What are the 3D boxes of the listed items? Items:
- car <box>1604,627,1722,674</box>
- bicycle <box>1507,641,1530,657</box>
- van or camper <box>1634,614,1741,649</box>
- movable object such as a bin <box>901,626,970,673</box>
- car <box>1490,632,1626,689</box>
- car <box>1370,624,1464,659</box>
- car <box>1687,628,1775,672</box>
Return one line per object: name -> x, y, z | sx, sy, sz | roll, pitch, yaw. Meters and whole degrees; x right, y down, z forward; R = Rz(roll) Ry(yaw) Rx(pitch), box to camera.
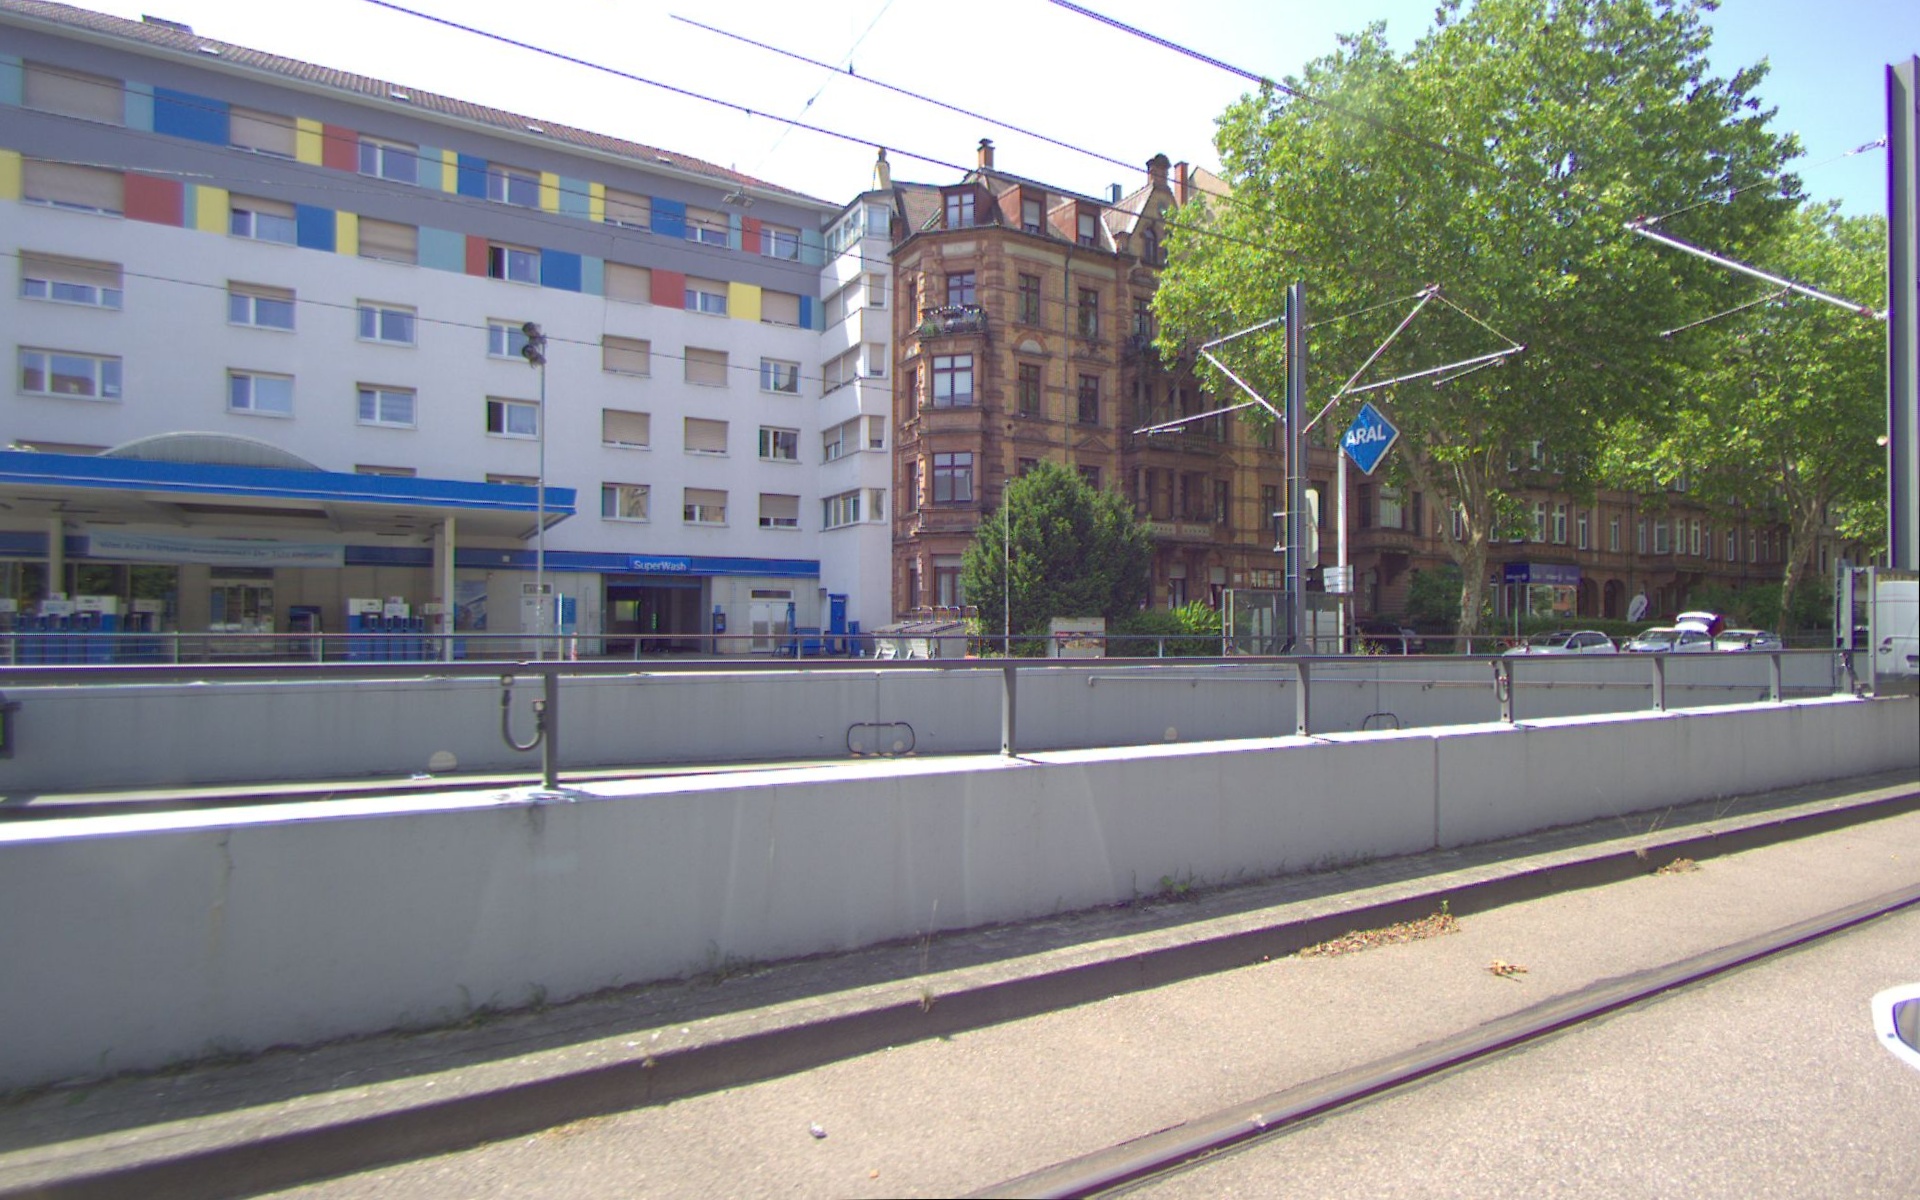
car -> 26.530, 1.849, 37.870 | 4.664, 1.646, 1.983 | 1, -1, -31
bicycle -> 24.549, 2.156, 44.137 | 1.329, 0.659, 0.278 | 1, -1, -32
van or camper -> 40.831, 1.750, 56.498 | 1.905, 1.861, 4.532 | 1, -1, -24
movable object such as a bin -> -0.781, 1.521, 31.531 | 1.453, 1.403, 1.773 | 1, -1, -32
car -> 17.979, 1.785, 30.195 | 3.822, 1.582, 1.541 | 1, -1, -23
car -> 20.094, 1.794, 44.290 | 1.635, 1.444, 3.460 | 1, -1, -34
car -> 31.364, 2.007, 40.843 | 3.665, 1.707, 1.645 | 1, -1, -31
